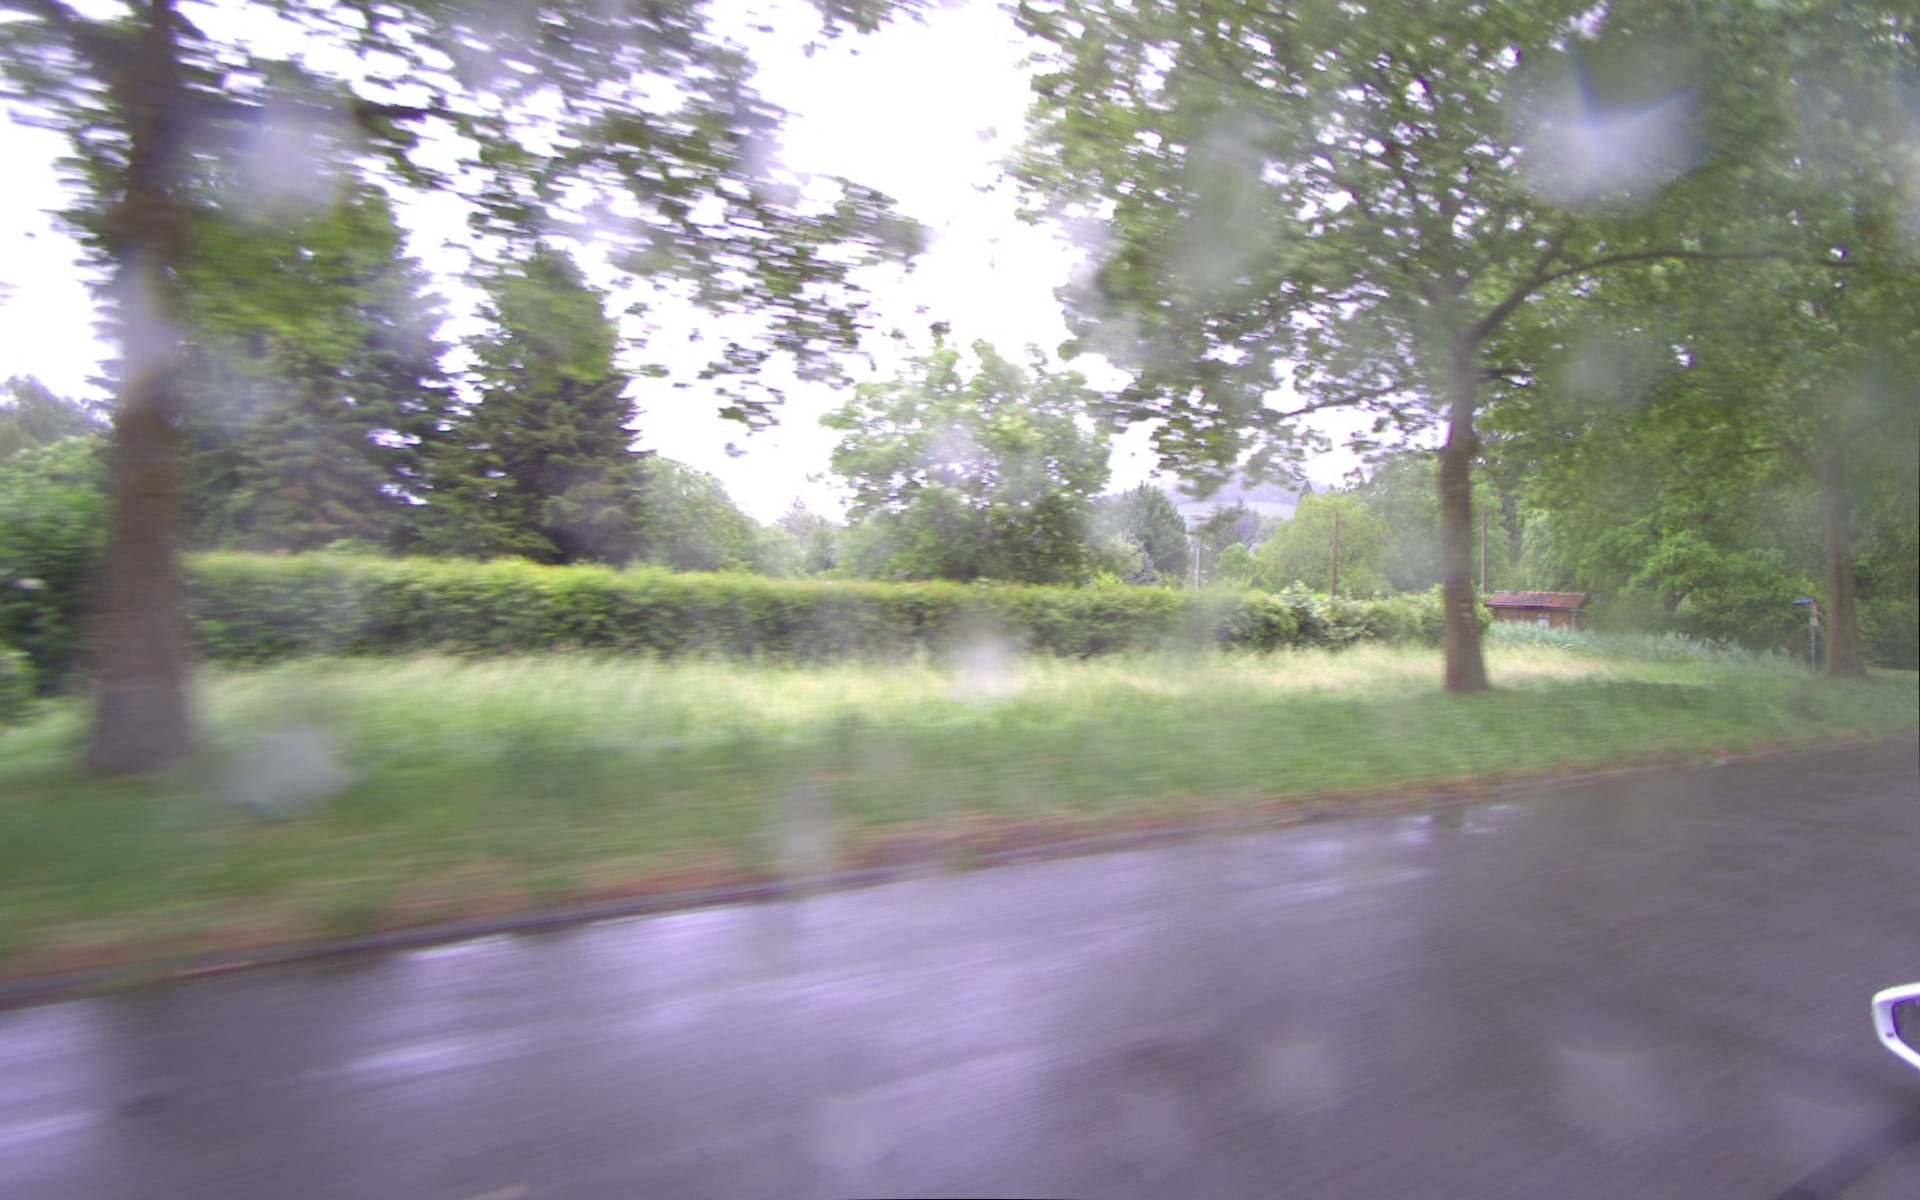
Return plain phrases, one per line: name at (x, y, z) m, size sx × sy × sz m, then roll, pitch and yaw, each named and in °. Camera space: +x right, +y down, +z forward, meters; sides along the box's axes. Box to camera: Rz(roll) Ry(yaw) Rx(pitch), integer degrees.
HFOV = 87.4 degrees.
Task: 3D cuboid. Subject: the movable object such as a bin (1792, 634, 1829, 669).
movable object such as a bin at (36.801, 2.218, 43.456) m, size 0.956 × 1.441 × 0.956 m, roll 1°, pitch 1°, yaw -34°
